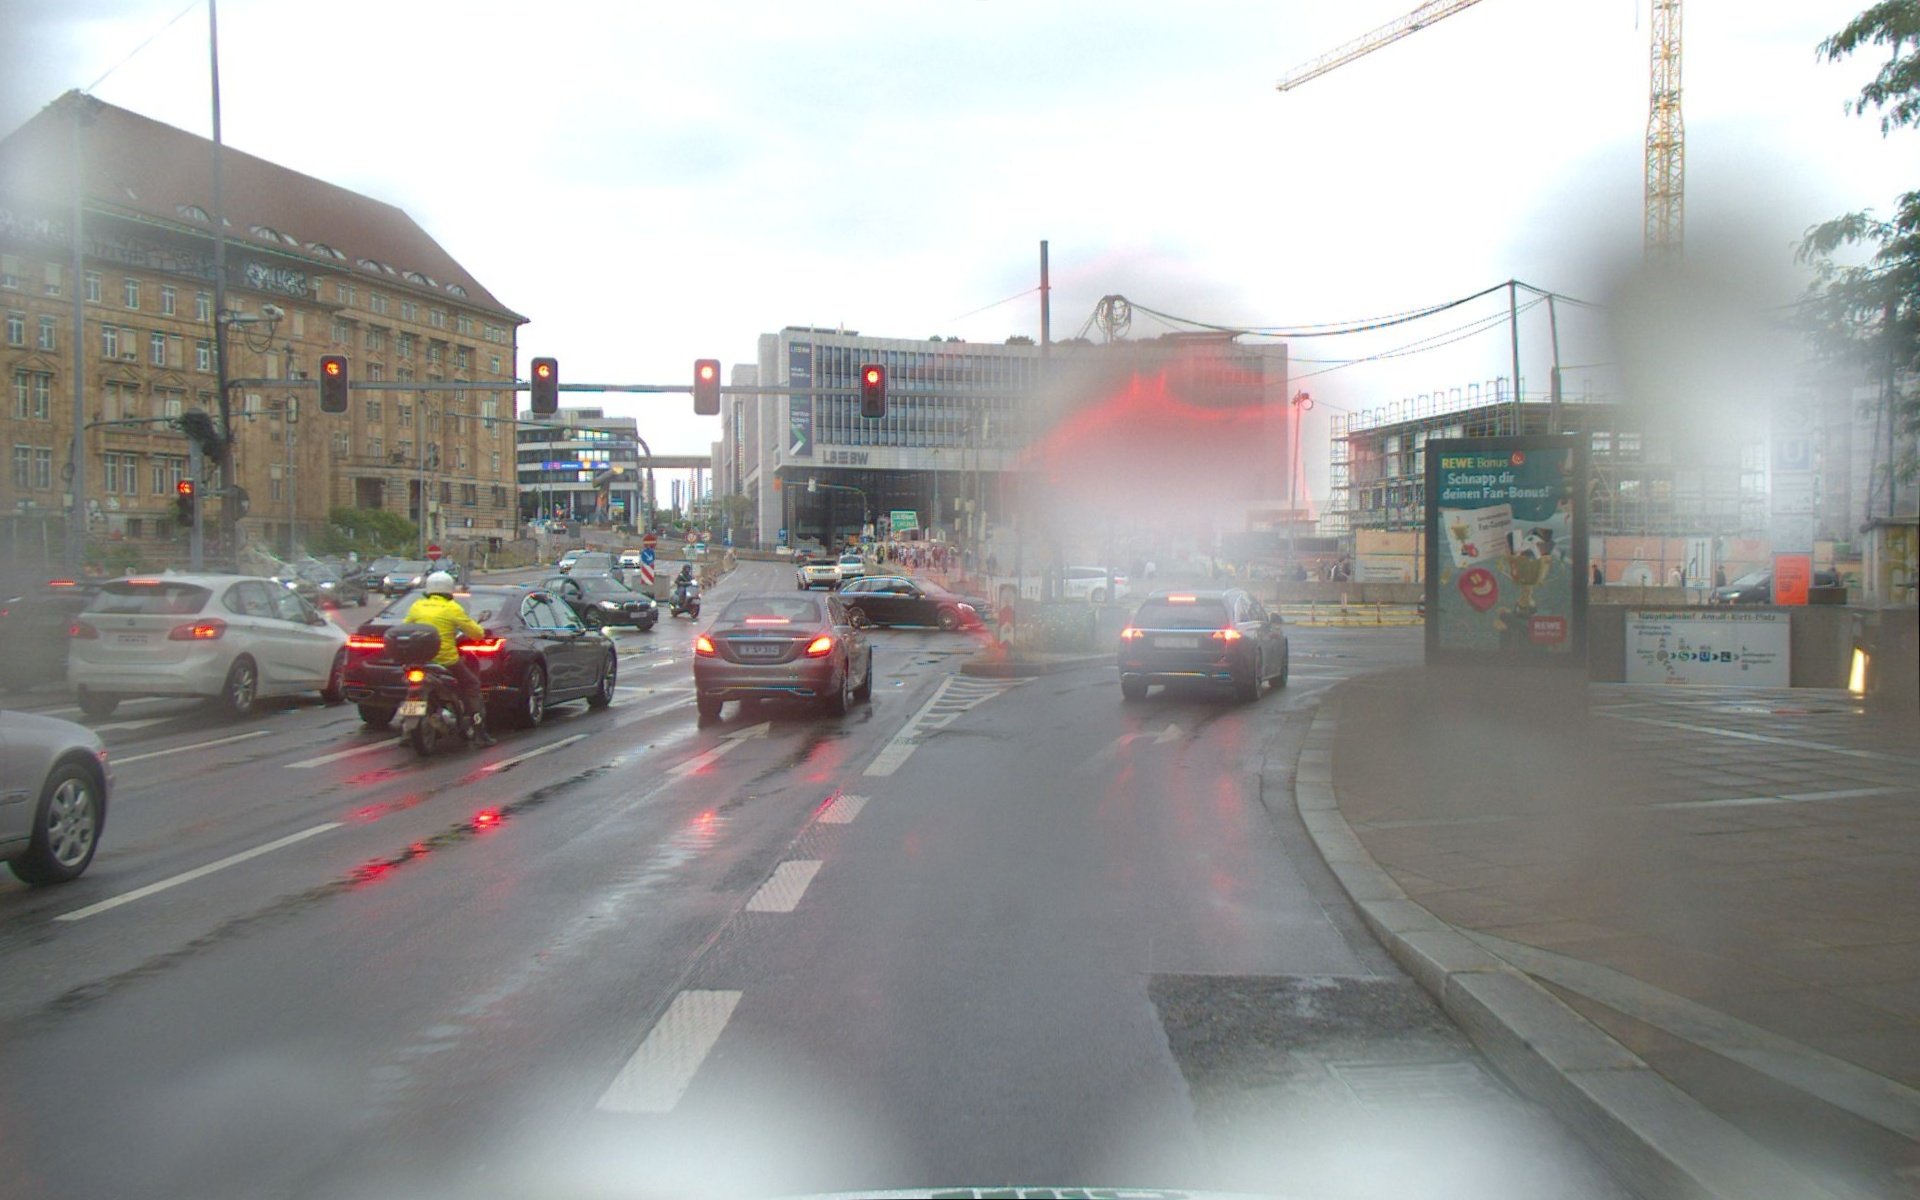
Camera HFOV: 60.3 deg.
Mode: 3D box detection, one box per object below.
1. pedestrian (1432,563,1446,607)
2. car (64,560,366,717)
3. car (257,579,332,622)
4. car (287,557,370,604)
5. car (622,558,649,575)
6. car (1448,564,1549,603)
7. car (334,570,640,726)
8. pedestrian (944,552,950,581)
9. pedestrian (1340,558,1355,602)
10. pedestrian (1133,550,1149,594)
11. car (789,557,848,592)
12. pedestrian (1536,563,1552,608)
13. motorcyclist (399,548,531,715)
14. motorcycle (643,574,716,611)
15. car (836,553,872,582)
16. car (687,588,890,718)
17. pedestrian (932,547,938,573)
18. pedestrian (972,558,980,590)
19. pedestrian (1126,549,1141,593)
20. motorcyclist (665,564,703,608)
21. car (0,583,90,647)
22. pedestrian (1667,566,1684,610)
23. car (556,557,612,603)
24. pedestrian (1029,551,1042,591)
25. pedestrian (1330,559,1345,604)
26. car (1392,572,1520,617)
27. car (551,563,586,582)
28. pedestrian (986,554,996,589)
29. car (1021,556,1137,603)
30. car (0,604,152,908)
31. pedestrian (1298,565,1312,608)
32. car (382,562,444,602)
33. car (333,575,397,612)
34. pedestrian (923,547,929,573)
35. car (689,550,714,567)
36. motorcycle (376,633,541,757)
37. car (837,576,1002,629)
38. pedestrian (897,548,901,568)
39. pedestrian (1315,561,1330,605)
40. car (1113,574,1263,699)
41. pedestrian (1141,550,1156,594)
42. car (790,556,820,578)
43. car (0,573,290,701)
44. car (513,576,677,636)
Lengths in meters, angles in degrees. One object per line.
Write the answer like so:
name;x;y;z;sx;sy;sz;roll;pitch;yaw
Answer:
pedestrian;21.495;-0.677;74.231;0.562;1.931;0.362;1;-1;4
car;-8.631;0.420;19.570;1.697;1.644;4.000;1;0;1
car;-26.020;0.019;64.803;1.665;1.601;3.995;1;0;-6
car;-22.671;-0.671;59.558;1.767;1.601;4.069;1;0;-6
car;-27.884;-2.875;142.355;1.732;1.282;3.997;1;0;-4
car;21.247;-0.639;65.371;3.472;1.499;1.787;1;0;6
car;-5.220;0.488;19.047;1.847;1.541;5.004;1;0;3
pedestrian;-0.878;-2.262;111.645;0.354;1.931;0.575;1;-1;-9
pedestrian;17.042;-0.869;72.754;0.563;1.931;0.362;1;-1;1
pedestrian;8.062;-1.245;73.560;0.359;1.931;0.568;-1;0;-40
car;-7.110;-1.257;82.734;1.964;1.668;3.977;1;0;-20
pedestrian;25.352;-0.627;71.770;0.563;1.931;0.362;1;-1;-2
motorcyclist;-4.624;0.285;15.539;0.922;1.501;1.100;1;0;-3
motorcycle;-8.859;-0.242;52.313;2.090;1.128;0.852;1;0;12
car;-6.577;-2.026;102.267;1.698;1.668;3.424;1;3;-13
car;-2.021;0.600;20.752;1.746;1.427;4.488;1;0;4
pedestrian;-1.884;-3.017;125.013;0.354;1.931;0.575;1;-1;-9
pedestrian;0.970;-1.573;100.295;0.355;1.931;0.574;1;-1;-13
pedestrian;7.686;-1.270;73.315;0.359;1.931;0.567;1;-1;-44
motorcyclist;-8.720;-0.443;52.273;0.925;1.382;0.850;1;0;12
car;-23.988;0.379;42.240;1.664;1.545;3.871;-2;0;-4
pedestrian;31.863;-0.539;73.664;0.563;1.931;0.362;1;-1;-4
car;-15.906;-0.811;70.173;1.957;1.829;5.092;1;0;-9
pedestrian;3.647;-1.386;79.891;0.358;1.931;0.569;1;-1;-38
pedestrian;16.436;-0.792;72.054;0.562;1.931;0.362;1;-1;4
car;15.547;-0.157;51.892;3.469;1.327;1.662;1;0;-10
car;-28.042;-1.978;118.470;1.732;1.282;4.191;1;0;-4
pedestrian;1.723;-1.570;92.365;0.355;1.931;0.574;1;-1;-17
car;4.821;-0.824;66.698;4.311;1.797;2.001;1;0;17
car;-5.372;0.727;7.018;1.697;1.428;4.383;1;0;0
pedestrian;15.491;-0.620;74.279;0.563;1.931;0.362;0;-1;22
car;-23.286;-0.741;70.547;1.665;1.601;3.995;1;0;-6
car;-26.004;-0.278;72.374;1.664;1.545;3.552;-2;0;-4
pedestrian;-2.549;-3.016;124.883;0.354;1.931;0.575;1;-1;-9
car;-30.469;-4.892;194.614;1.967;1.847;3.970;1;0;-24
motorcycle;-4.631;0.847;15.472;0.923;1.006;2.293;1;0;-3
car;-1.103;0.058;44.994;4.018;1.368;1.998;1;0;26
pedestrian;-5.712;-3.926;154.834;0.354;1.931;0.575;1;-1;-9
pedestrian;16.194;-0.767;73.859;0.563;1.931;0.362;1;-1;-1
car;3.261;0.471;23.099;1.851;1.571;3.997;1;0;11
pedestrian;8.428;-1.259;73.909;0.359;1.931;0.568;1;-1;-42
car;-15.467;-3.258;164.618;1.965;2.049;3.975;1;0;-21
car;-11.433;0.477;23.237;1.745;1.627;4.076;1;0;12
car;-9.742;0.140;44.053;4.024;1.533;1.995;1;0;32
